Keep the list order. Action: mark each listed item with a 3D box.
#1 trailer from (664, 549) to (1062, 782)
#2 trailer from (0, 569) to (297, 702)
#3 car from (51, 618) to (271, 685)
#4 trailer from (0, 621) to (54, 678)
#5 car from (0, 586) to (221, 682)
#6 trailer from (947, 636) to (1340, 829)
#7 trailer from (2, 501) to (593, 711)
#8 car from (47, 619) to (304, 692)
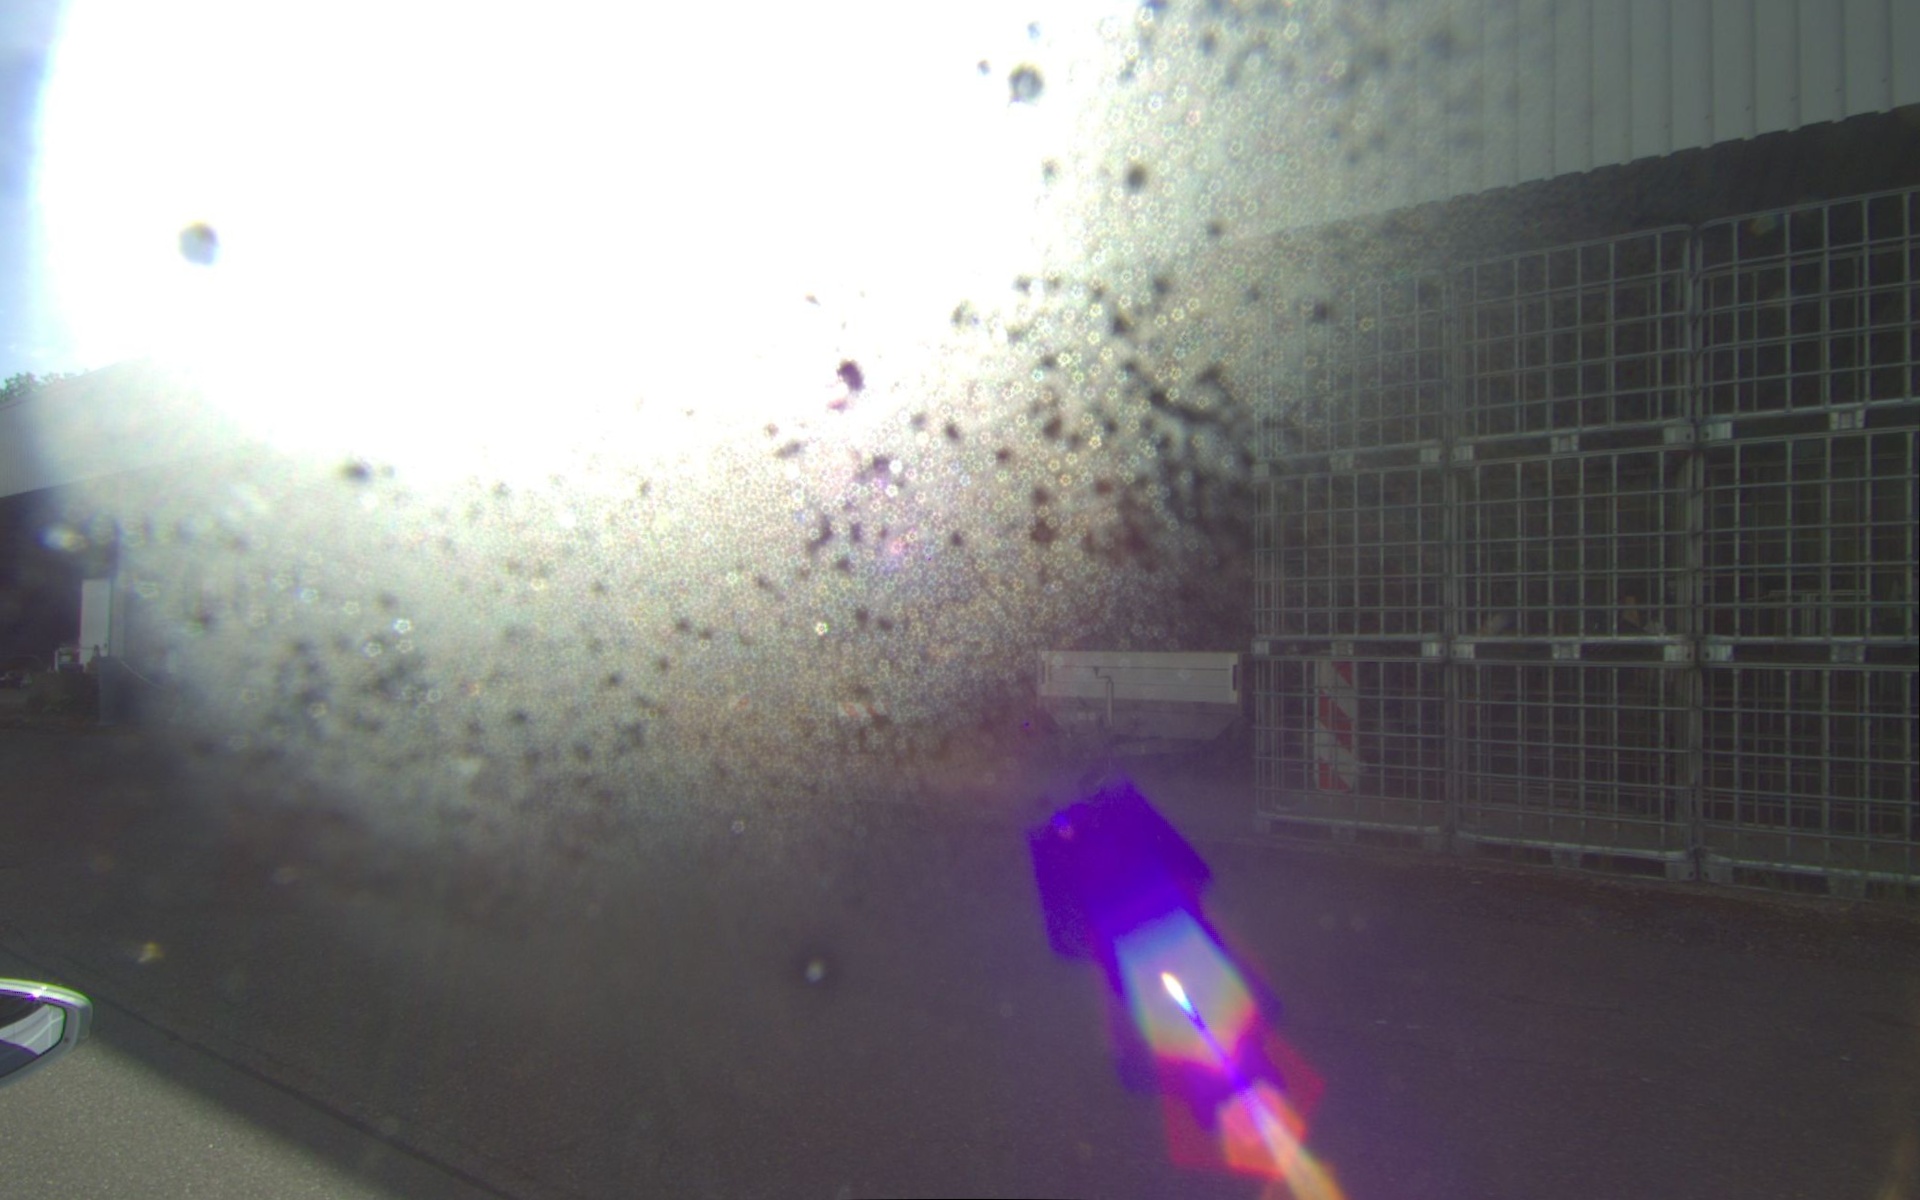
[{"bbox_3d":[-0.831,0.618,11.134,2.133,2.016,4.413,-1,-1,33],"label":"trailer"},{"bbox_3d":[-16.391,0.680,20.312,2.018,2.372,4.507,-1,-1,32],"label":"trailer"},{"bbox_3d":[-19.938,1.267,25.172,1.812,1.533,3.962,-1,-2,28],"label":"car"},{"bbox_3d":[-25.695,1.306,26.646,1.715,1.485,2.032,-1,-1,36],"label":"trailer"},{"bbox_3d":[-22.927,0.895,26.243,2.121,2.310,5.325,-1,-2,31],"label":"car"},{"bbox_3d":[2.172,1.006,9.738,1.945,1.200,5.720,-1,-1,30],"label":"trailer"},{"bbox_3d":[-12.968,0.177,21.203,2.761,3.386,10.249,0,-1,32],"label":"trailer"},{"bbox_3d":[-17.759,1.215,22.904,1.841,1.490,4.246,0,-2,28],"label":"car"}]
